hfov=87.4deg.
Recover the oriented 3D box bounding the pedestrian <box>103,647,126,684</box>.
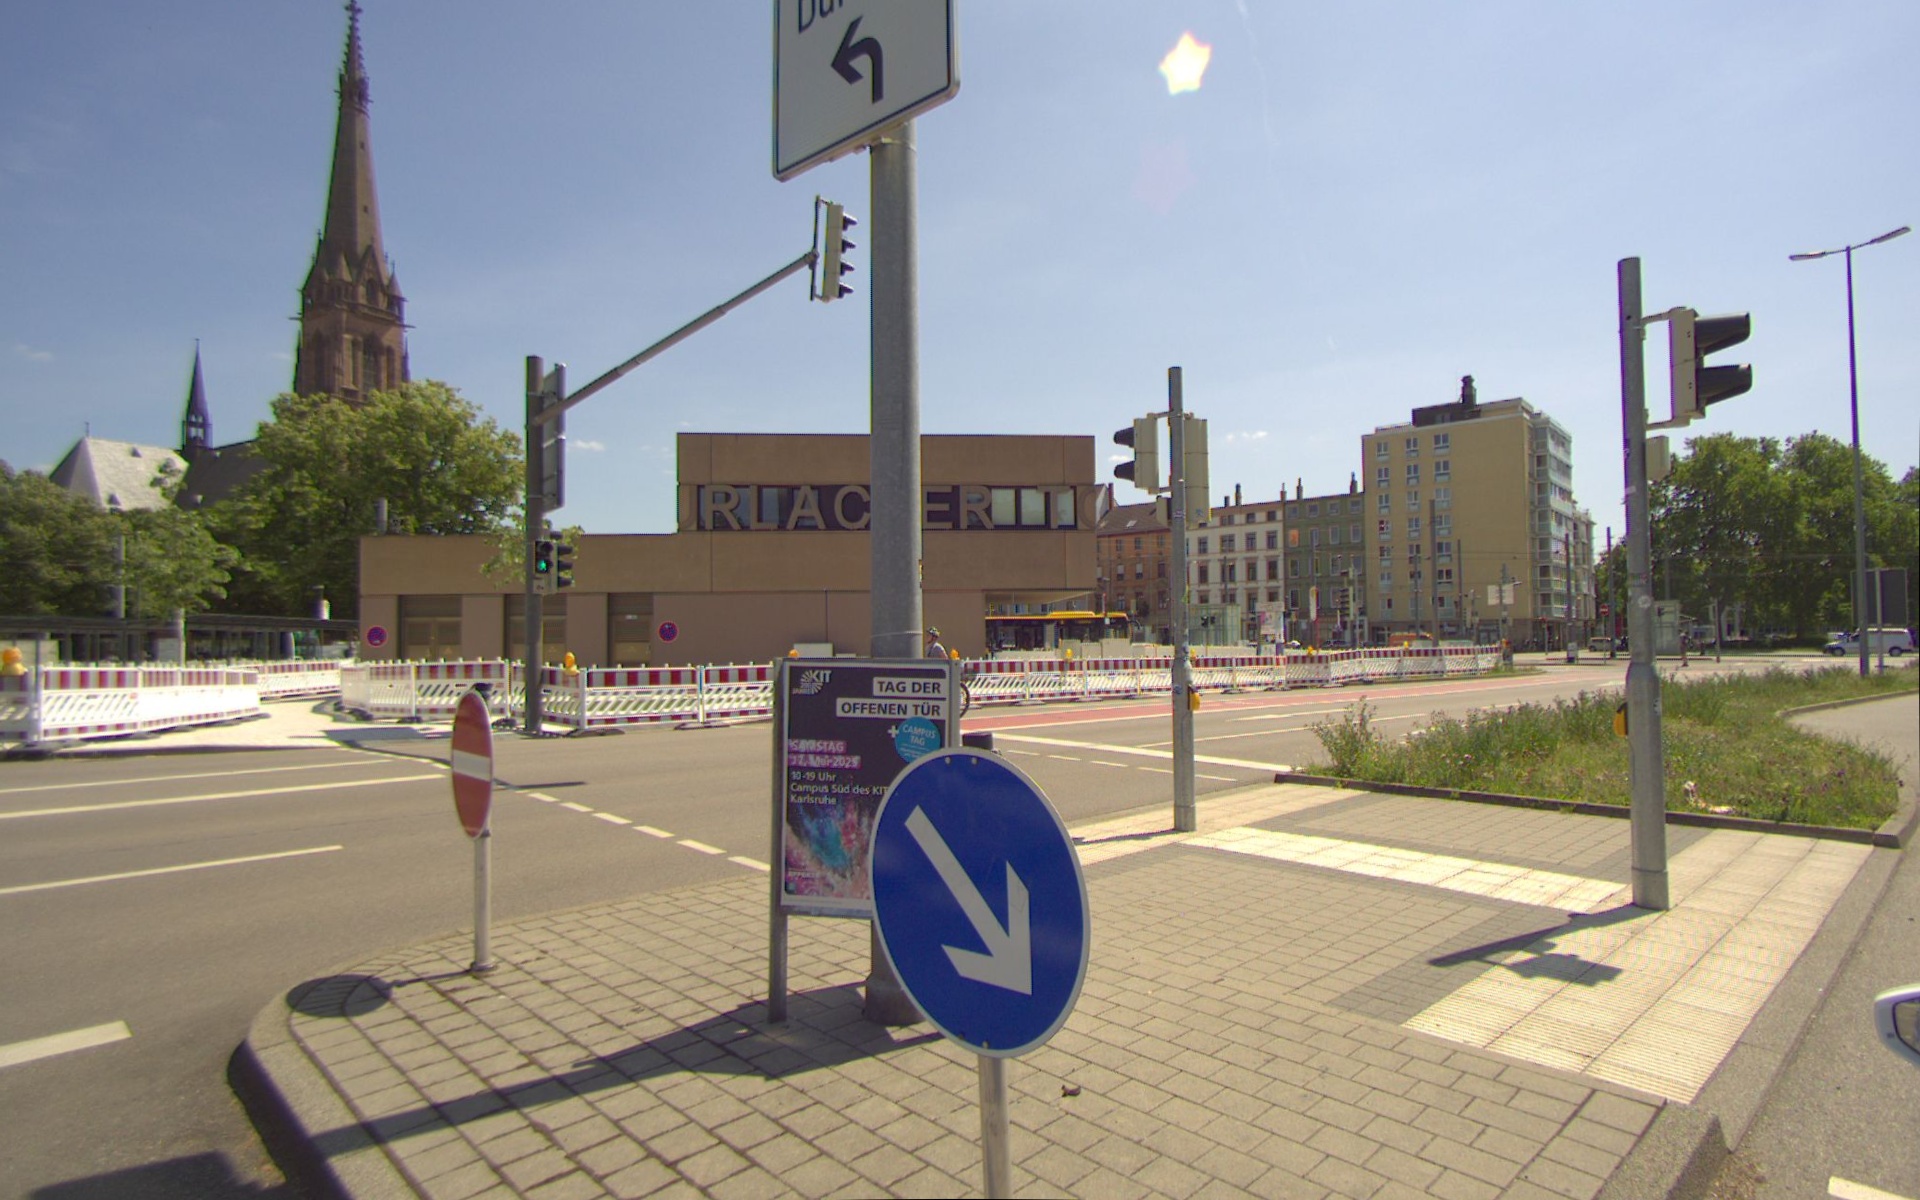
[{"bbox_3d":[-40.039,3.107,47.580,0.537,1.676,0.626,-2,0,-9],"label":"pedestrian"}]

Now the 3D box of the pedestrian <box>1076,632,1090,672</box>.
[{"bbox_3d":[6.500,2.740,52.994,0.650,2.022,0.611,-2,0,9],"label":"pedestrian"}]

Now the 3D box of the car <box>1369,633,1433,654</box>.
[{"bbox_3d":[36.424,3.576,82.999,4.576,1.635,1.665,-3,-1,45],"label":"car"}]

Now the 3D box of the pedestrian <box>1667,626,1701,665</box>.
[{"bbox_3d":[37.346,2.333,51.811,0.894,1.959,1.170,-2,-1,-37],"label":"pedestrian"}]

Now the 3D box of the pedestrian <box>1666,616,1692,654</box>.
[{"bbox_3d":[57.959,2.806,80.971,1.322,2.977,1.206,-2,0,-34],"label":"pedestrian"}]

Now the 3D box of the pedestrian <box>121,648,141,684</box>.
[{"bbox_3d":[-38.993,3.086,47.247,0.511,1.641,0.536,-2,0,-9],"label":"pedestrian"}]

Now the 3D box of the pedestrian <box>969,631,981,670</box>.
[{"bbox_3d":[0.777,2.646,52.565,0.573,2.022,0.571,-2,0,-2],"label":"pedestrian"}]

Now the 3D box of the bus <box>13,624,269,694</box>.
[{"bbox_3d":[-41.966,2.985,51.723,10.399,3.094,2.854,-2,-1,-4],"label":"bus"}]

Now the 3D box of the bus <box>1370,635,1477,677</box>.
[{"bbox_3d":[17.657,2.087,38.131,5.769,1.266,1.234,-1,-1,-39],"label":"bus"}]

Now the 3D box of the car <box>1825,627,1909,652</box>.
[{"bbox_3d":[63.408,2.752,70.307,4.256,1.648,1.806,-3,-1,40],"label":"car"}]

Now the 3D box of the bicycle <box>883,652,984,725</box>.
[{"bbox_3d":[-0.443,1.501,17.390,1.885,1.196,0.518,2,-3,-43],"label":"bicycle"}]

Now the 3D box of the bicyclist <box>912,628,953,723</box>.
[{"bbox_3d":[-0.470,1.298,17.379,0.495,1.600,0.524,2,-3,-42],"label":"bicyclist"}]

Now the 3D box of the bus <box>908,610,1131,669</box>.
[{"bbox_3d":[3.181,2.217,56.172,12.020,3.081,3.737,0,-2,-5],"label":"bus"}]
